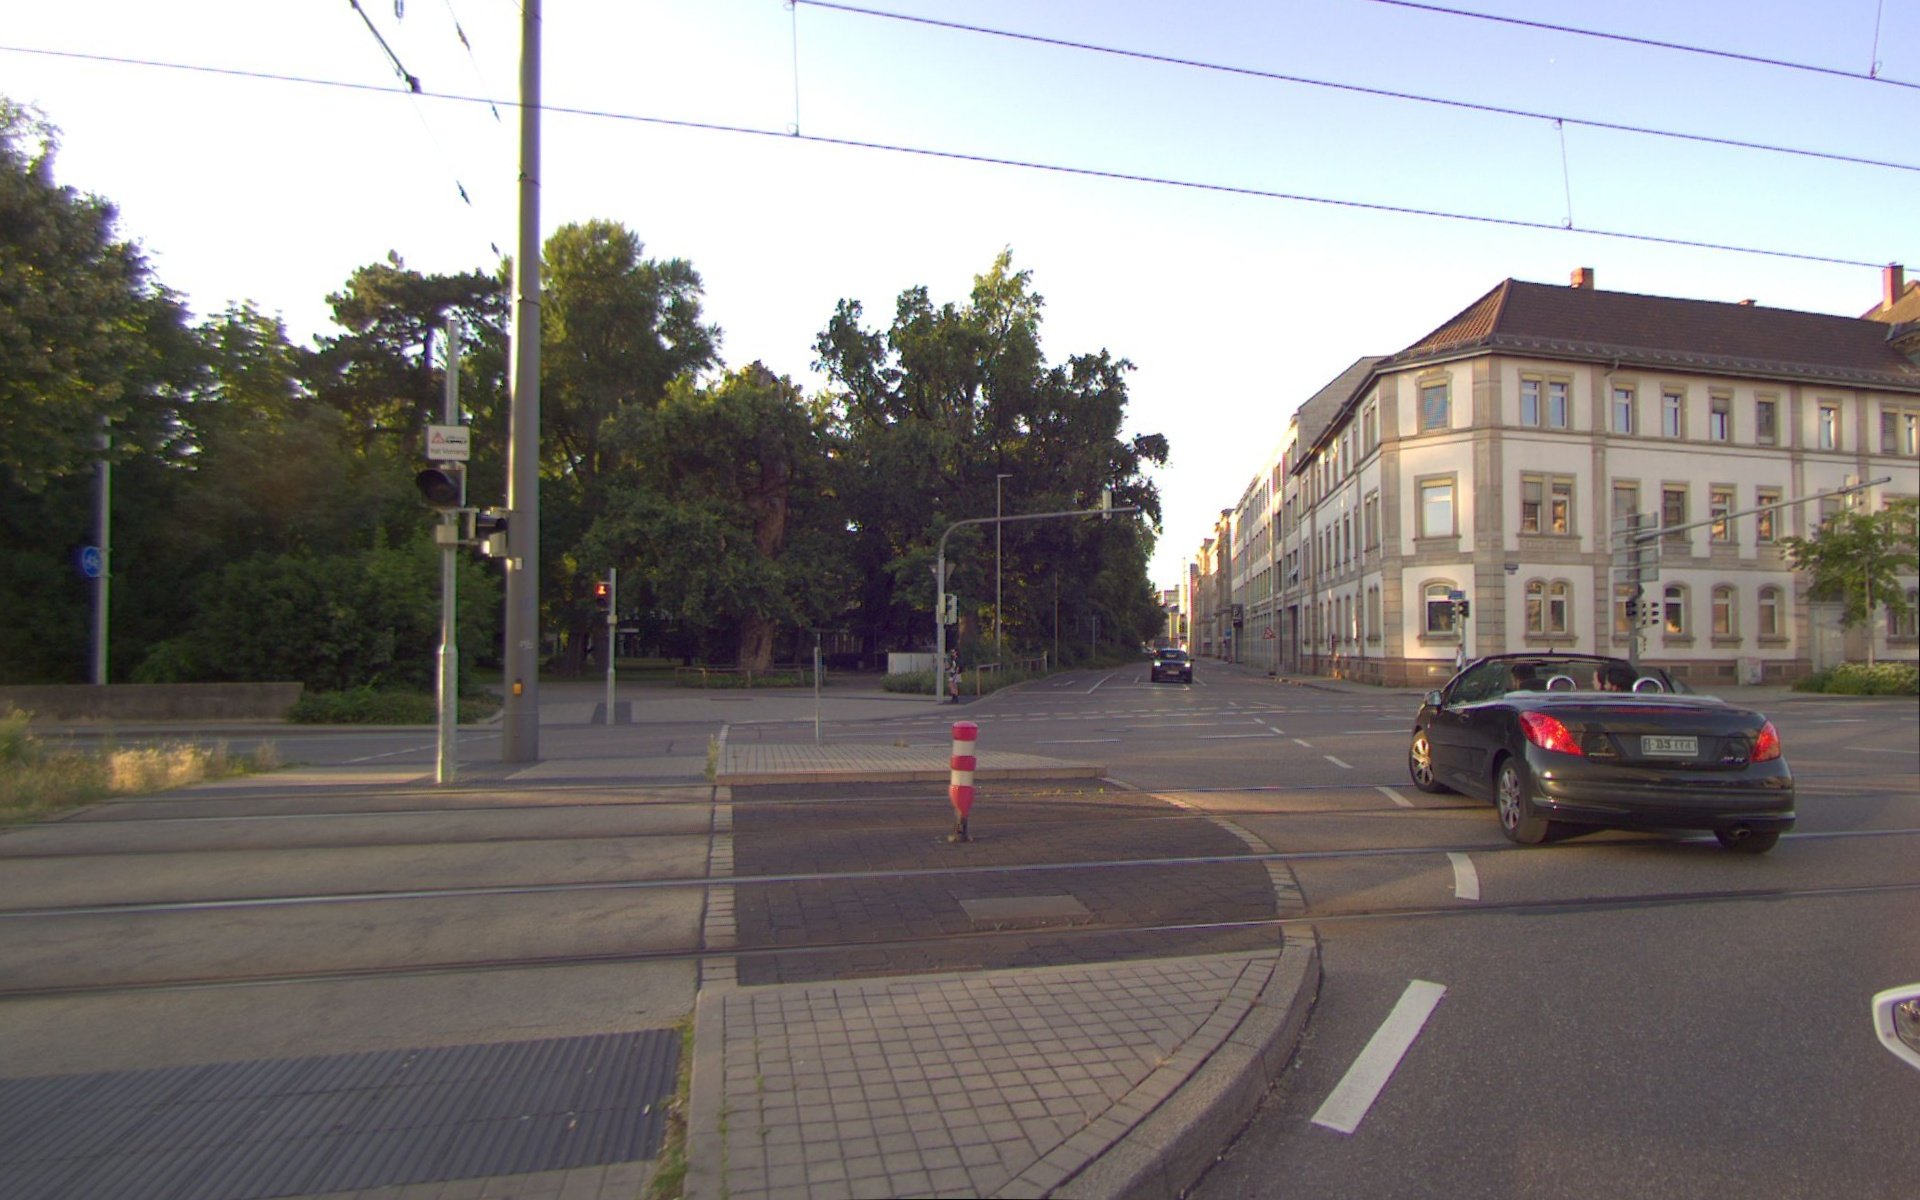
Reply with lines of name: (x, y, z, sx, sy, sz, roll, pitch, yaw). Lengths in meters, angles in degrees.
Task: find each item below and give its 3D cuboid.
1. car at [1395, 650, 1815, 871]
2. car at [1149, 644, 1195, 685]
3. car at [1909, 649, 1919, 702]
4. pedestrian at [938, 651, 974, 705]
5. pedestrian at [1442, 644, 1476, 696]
car: (5.009, 1.121, 8.501, 1.645, 1.370, 4.004, 0, -3, 12)
car: (9.411, 2.806, 44.357, 1.754, 1.576, 4.002, 0, 0, 15)
car: (31.133, 2.235, 30.098, 4.054, 1.600, 1.995, 0, -4, -14)
pedestrian: (-0.126, 2.208, 28.688, 0.920, 1.478, 0.604, 0, 0, -14)
pedestrian: (17.351, 2.435, 34.930, 0.695, 1.738, 0.807, 0, 0, -27)
